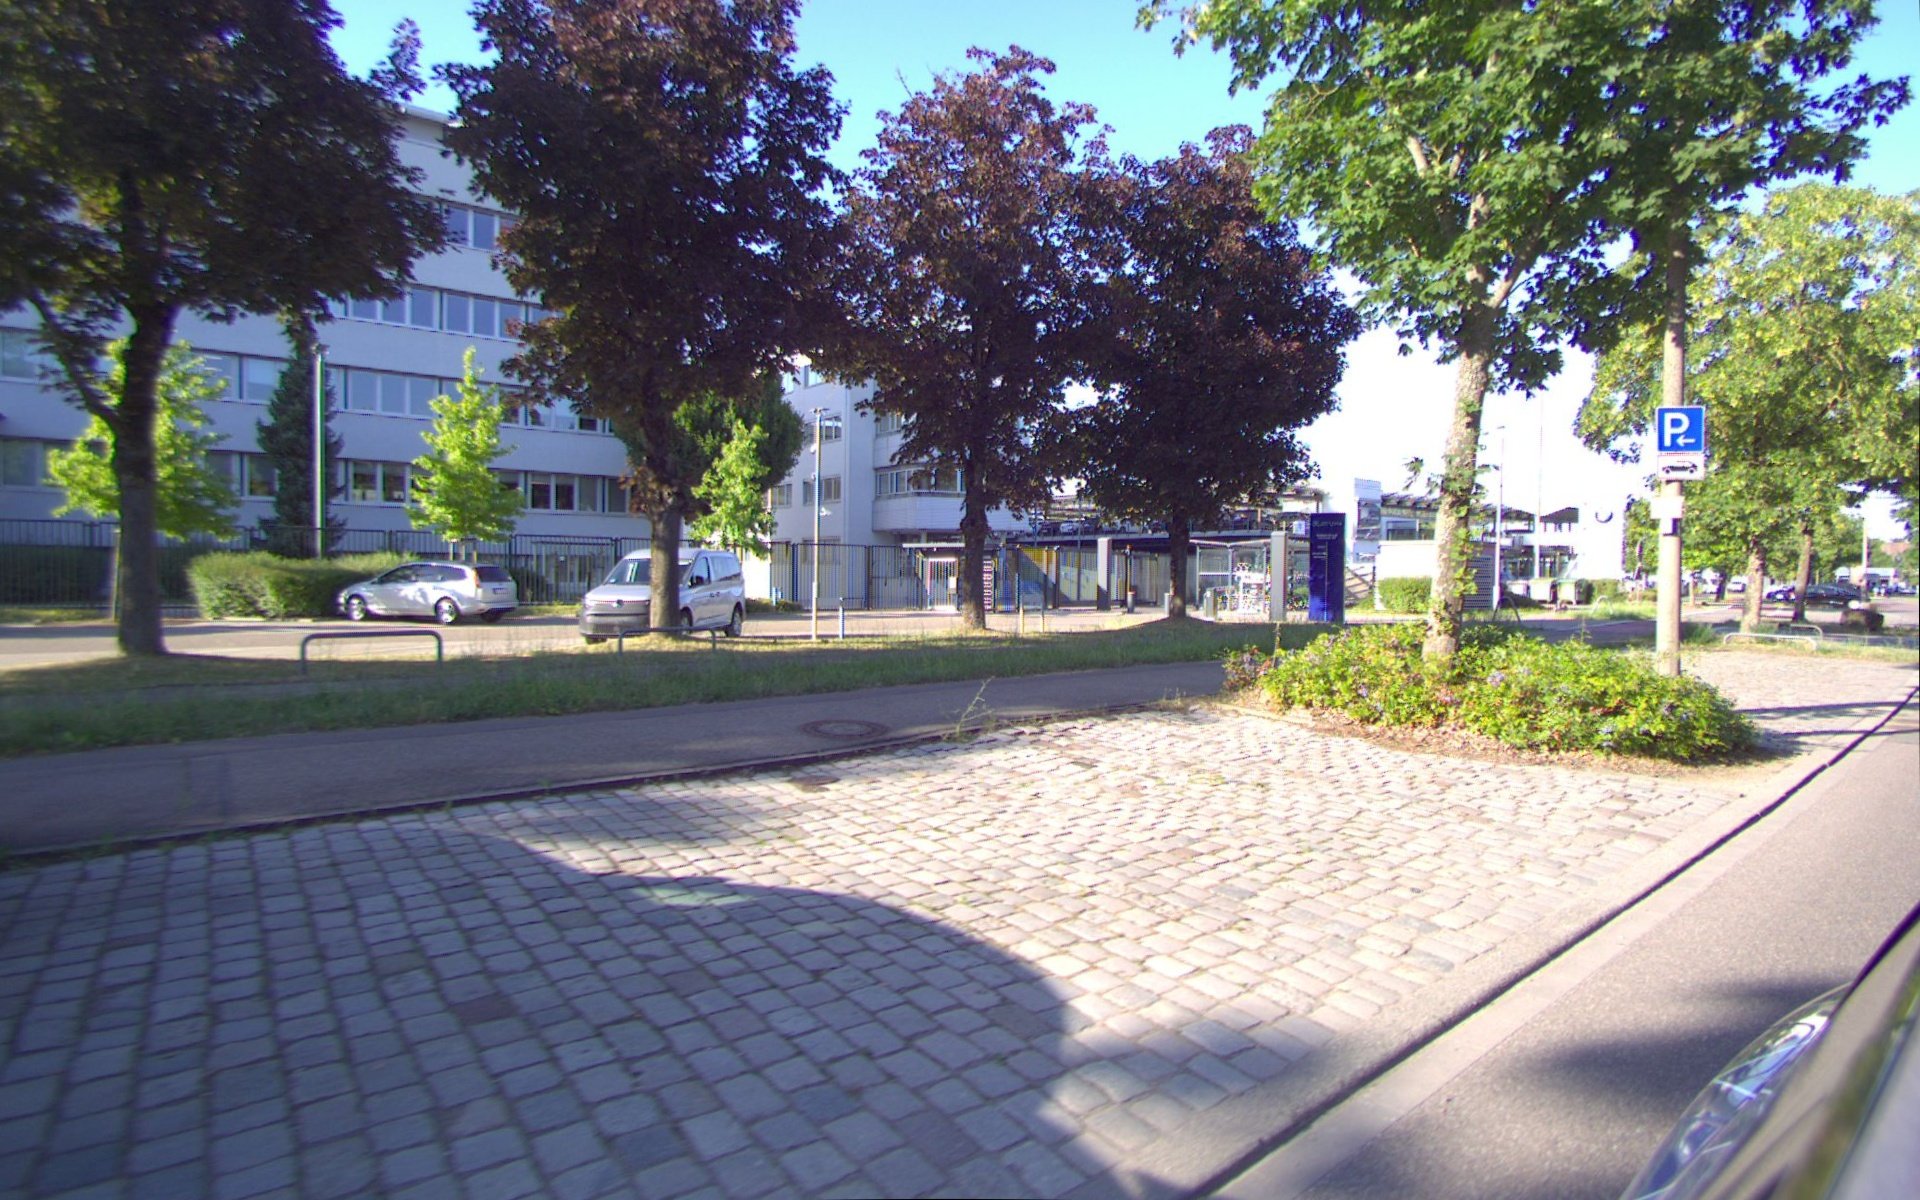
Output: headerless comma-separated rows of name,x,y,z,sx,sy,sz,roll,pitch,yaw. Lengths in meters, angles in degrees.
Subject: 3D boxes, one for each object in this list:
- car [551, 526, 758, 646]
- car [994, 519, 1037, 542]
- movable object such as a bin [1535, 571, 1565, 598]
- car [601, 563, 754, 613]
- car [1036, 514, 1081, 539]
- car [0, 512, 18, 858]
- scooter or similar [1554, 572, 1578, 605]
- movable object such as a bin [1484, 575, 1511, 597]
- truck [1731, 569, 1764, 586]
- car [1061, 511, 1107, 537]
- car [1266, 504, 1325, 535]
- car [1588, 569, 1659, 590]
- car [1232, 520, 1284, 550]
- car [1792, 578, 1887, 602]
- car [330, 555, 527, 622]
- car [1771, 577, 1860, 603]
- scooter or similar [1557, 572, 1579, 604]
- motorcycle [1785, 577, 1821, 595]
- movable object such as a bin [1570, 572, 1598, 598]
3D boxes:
car,-5.565,-0.261,19.232,1.966,1.958,4.945,1,1,6
car,5.694,-7.068,103.408,4.126,2.128,1.997,0,-1,-40
movable object such as a bin,33.051,-0.870,56.722,1.021,1.502,1.211,0,2,-44
car,-8.196,-0.369,29.494,3.935,1.371,1.802,1,2,10
car,9.532,-7.131,98.066,4.126,2.128,1.997,0,-1,-40
car,-4.053,0.463,2.445,2.118,1.593,5.190,-1,2,-38
scooter or similar,24.466,-0.459,40.845,0.520,1.288,1.365,2,2,44
movable object such as a bin,31.447,-0.822,59.224,1.021,1.283,1.118,-1,2,-44
truck,128.730,-3.666,165.475,5.858,2.753,2.547,0,2,-35
car,11.788,-7.161,96.174,4.126,2.128,1.997,0,-1,-40
car,27.531,-6.575,83.118,1.964,2.128,4.197,0,-1,-38
car,60.067,-1.858,91.709,4.657,1.711,2.403,3,3,13
car,23.755,-5.162,80.526,4.126,2.128,1.997,0,-1,-40
car,56.371,-0.682,64.990,4.474,1.421,2.005,2,2,39
car,-13.181,-0.311,25.179,4.248,1.547,1.800,1,2,14
car,57.060,-0.691,67.607,4.477,1.570,2.004,2,2,41
scooter or similar,25.274,-0.502,42.056,0.520,1.288,1.181,2,2,44
motorcycle,72.512,-1.201,87.053,2.107,1.484,0.942,2,2,24
movable object such as a bin,34.079,-0.821,55.304,1.016,1.434,0.850,0,0,-19
